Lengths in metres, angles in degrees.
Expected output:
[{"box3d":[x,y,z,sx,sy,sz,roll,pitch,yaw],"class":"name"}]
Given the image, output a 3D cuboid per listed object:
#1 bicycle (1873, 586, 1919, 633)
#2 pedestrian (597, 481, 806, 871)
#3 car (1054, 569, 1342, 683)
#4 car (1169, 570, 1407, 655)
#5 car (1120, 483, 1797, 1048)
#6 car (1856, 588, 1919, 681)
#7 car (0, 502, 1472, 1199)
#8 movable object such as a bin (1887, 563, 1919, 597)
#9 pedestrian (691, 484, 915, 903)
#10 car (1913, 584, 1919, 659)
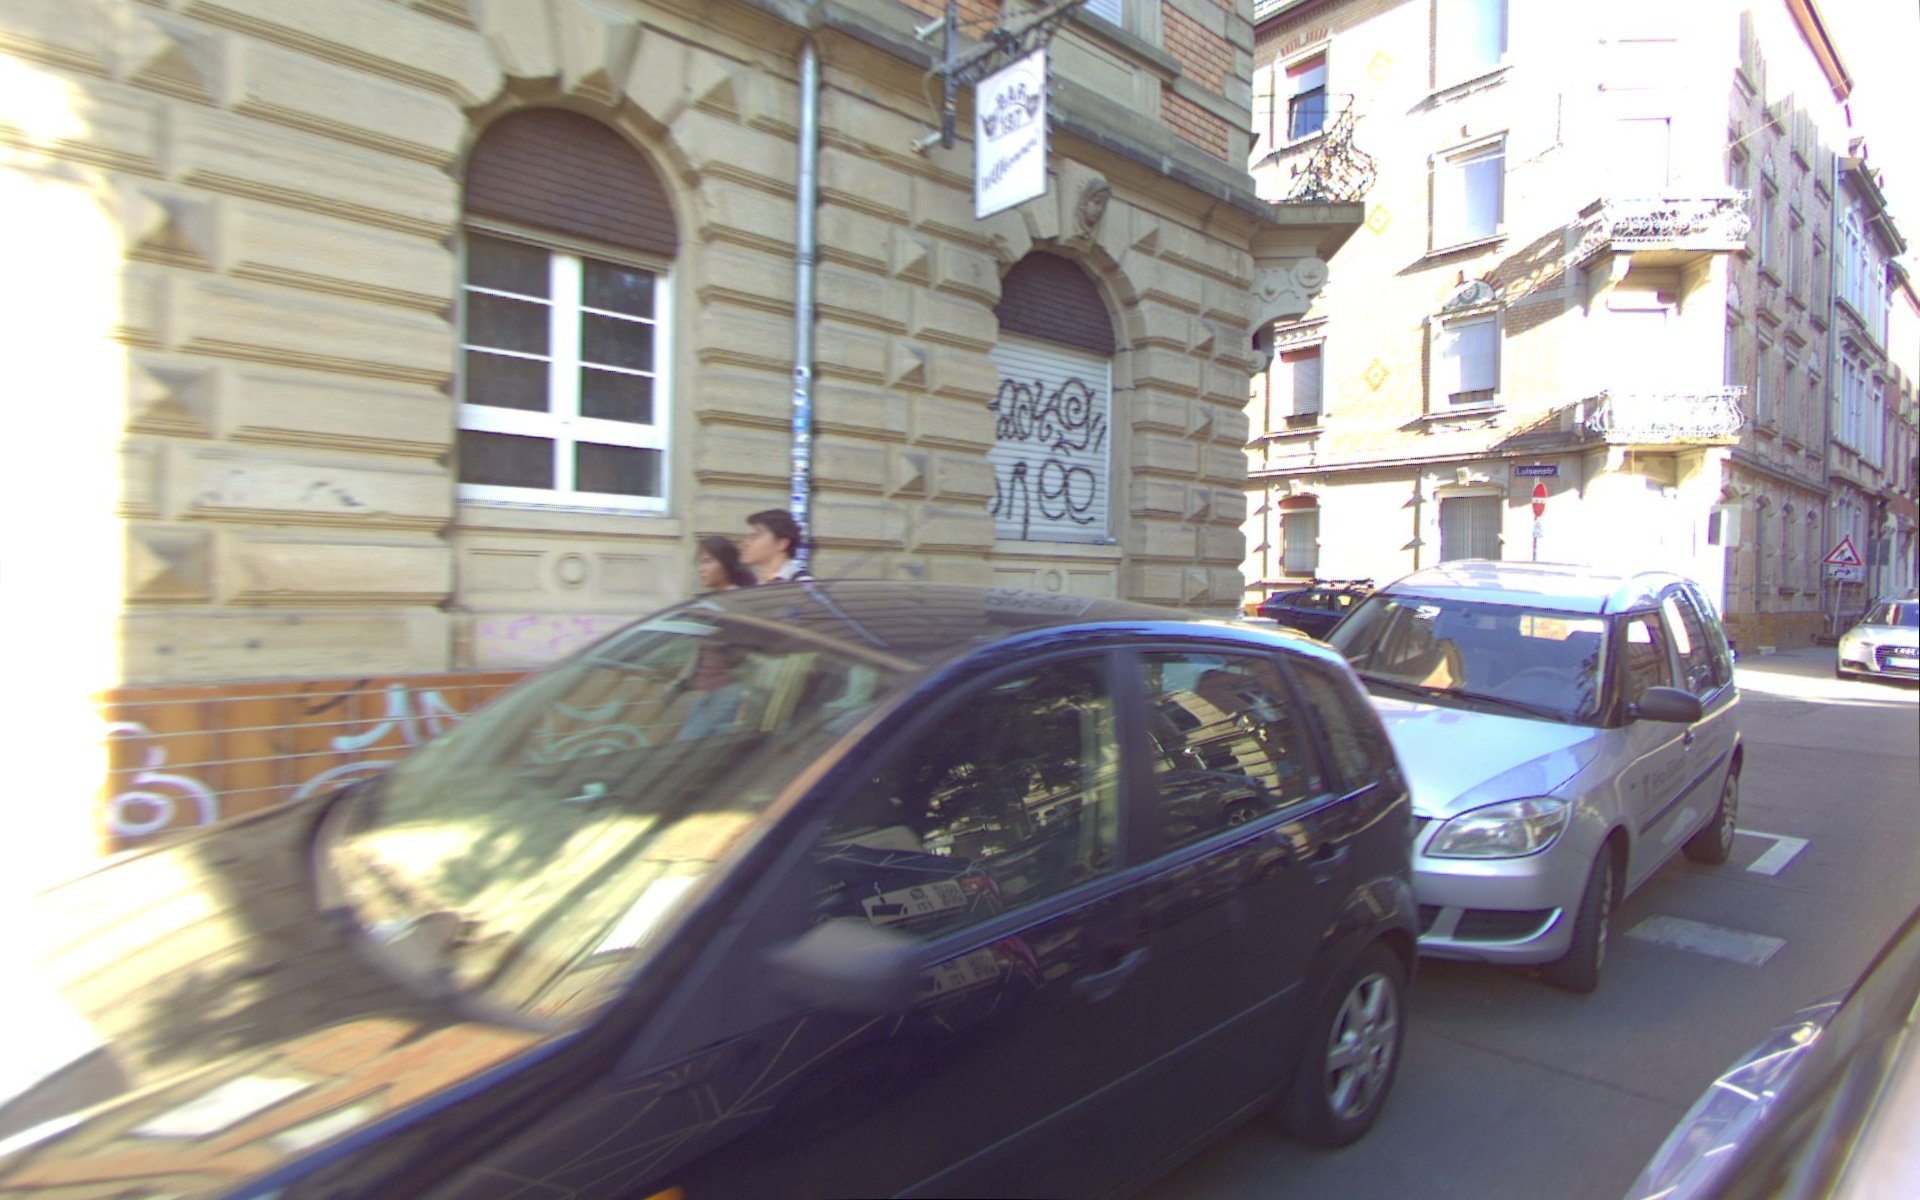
[{"box3d":[28.189,0.263,30.476,1.662,1.319,0.729,0,4,-40],"class":"bicycle"},{"box3d":[-1.204,0.310,4.716,0.722,1.642,0.575,1,2,-42],"class":"pedestrian"},{"box3d":[3.413,0.296,15.151,1.702,1.470,3.990,1,1,-39],"class":"car"},{"box3d":[6.524,0.168,20.419,4.242,1.489,1.741,3,2,44],"class":"car"},{"box3d":[2.702,0.467,5.040,3.871,1.735,1.706,0,2,-42],"class":"car"},{"box3d":[16.864,0.527,17.300,4.431,1.477,1.709,-1,0,-40],"class":"car"},{"box3d":[-0.316,0.643,2.415,3.619,1.531,1.537,0,2,-42],"class":"car"},{"box3d":[30.798,-0.648,32.855,0.710,1.074,0.897,0,4,-42],"class":"movable object such as a bin"},{"box3d":[-0.678,0.353,4.375,0.715,1.623,0.592,1,2,-42],"class":"pedestrian"},{"box3d":[21.330,0.458,21.108,3.818,1.497,1.670,0,1,-40],"class":"car"}]
